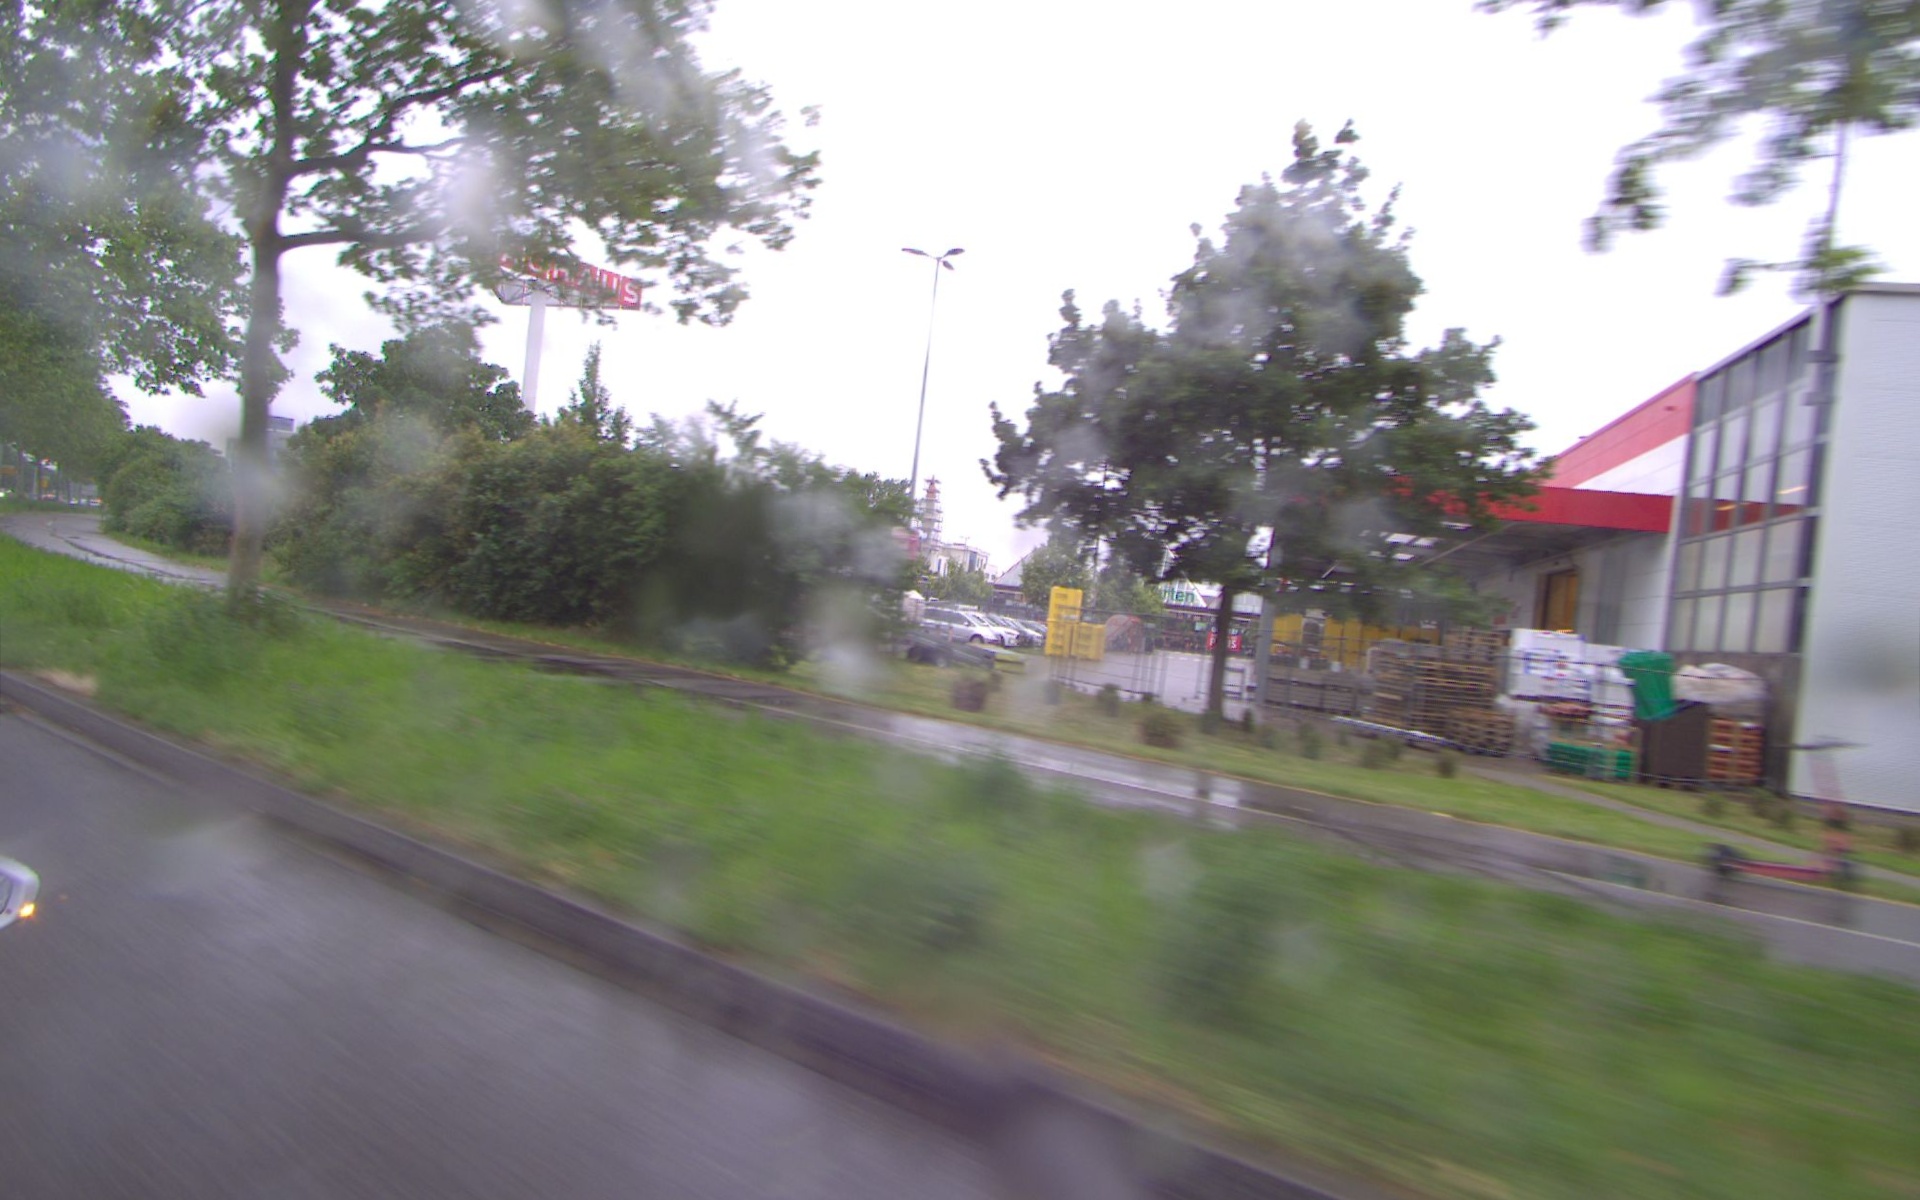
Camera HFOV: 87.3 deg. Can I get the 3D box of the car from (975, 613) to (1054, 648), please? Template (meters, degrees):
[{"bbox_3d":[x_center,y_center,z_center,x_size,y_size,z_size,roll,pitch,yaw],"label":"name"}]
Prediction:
[{"bbox_3d":[3.353,1.870,61.516,4.353,1.596,1.921,7,-1,18],"label":"car"}]

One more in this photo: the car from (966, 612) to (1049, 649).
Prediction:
[{"bbox_3d":[2.790,1.778,58.773,4.353,1.596,1.921,7,-1,18],"label":"car"}]

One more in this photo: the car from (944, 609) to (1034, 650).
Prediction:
[{"bbox_3d":[1.566,1.604,54.249,4.353,1.596,1.921,7,-1,18],"label":"car"}]

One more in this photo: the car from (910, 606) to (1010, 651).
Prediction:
[{"bbox_3d":[0.008,1.393,48.650,4.353,1.596,1.921,7,-1,18],"label":"car"}]

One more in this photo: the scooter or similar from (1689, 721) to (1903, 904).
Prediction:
[{"bbox_3d":[6.709,1.679,8.125,1.090,1.212,0.550,7,0,14],"label":"scooter or similar"}]

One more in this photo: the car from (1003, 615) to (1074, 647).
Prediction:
[{"bbox_3d":[5.338,2.139,68.555,4.353,1.596,1.921,7,-1,18],"label":"car"}]

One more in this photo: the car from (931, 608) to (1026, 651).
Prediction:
[{"bbox_3d":[0.949,1.513,51.436,4.353,1.596,1.921,7,-1,18],"label":"car"}]

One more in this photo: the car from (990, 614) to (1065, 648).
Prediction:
[{"bbox_3d":[4.355,2.008,65.074,4.353,1.596,1.921,7,-1,18],"label":"car"}]
